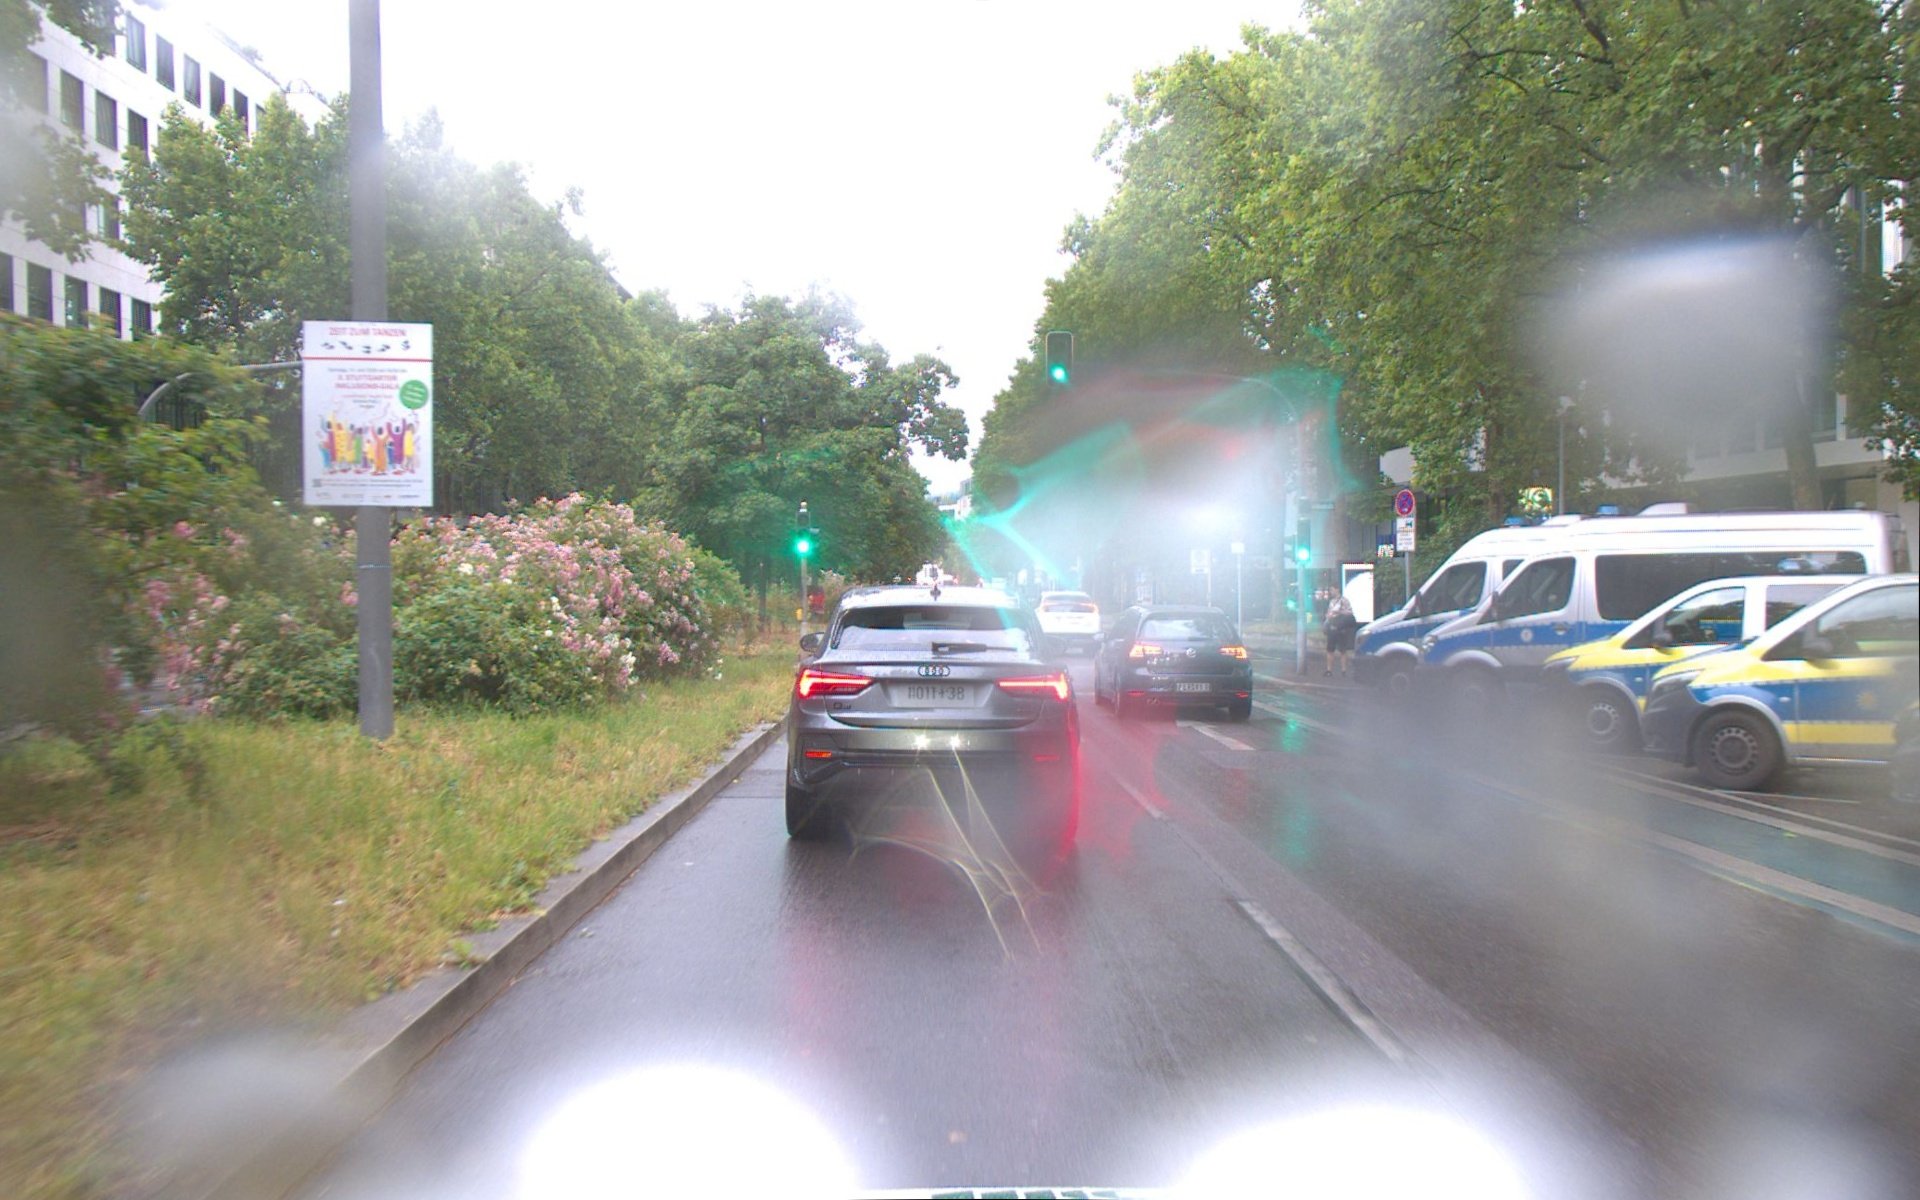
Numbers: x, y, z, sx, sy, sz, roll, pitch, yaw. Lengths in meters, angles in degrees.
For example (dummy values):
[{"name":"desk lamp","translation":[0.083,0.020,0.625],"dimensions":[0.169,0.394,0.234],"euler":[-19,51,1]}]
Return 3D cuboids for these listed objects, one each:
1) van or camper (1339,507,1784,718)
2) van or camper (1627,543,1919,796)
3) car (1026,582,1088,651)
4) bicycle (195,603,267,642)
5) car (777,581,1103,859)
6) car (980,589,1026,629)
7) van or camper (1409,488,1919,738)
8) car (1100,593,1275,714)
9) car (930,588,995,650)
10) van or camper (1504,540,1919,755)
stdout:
[{"name":"van or camper","translation":[8.574,0.141,23.881],"dimensions":[5.701,2.724,2.139],"euler":[0,0,37]},{"name":"van or camper","translation":[8.524,0.578,13.913],"dimensions":[5.101,2.027,1.994],"euler":[1,0,34]},{"name":"car","translation":[2.503,0.403,43.074],"dimensions":[1.404,1.714,2.979],"euler":[-1,1,-1]},{"name":"bicycle","translation":[-18.358,0.561,41.666],"dimensions":[1.587,0.979,0.508],"euler":[0,0,-9]},{"name":"car","translation":[-0.096,0.650,11.550],"dimensions":[1.825,1.559,4.527],"euler":[0,1,0]},{"name":"car","translation":[1.927,0.384,75.126],"dimensions":[1.953,1.780,4.000],"euler":[0,1,-1]},{"name":"van or camper","translation":[8.688,0.136,20.531],"dimensions":[5.693,2.727,1.993],"euler":[0,0,35]},{"name":"car","translation":[2.971,0.648,22.349],"dimensions":[1.729,1.437,3.999],"euler":[-1,1,-1]},{"name":"car","translation":[0.033,0.488,45.401],"dimensions":[1.687,1.605,3.961],"euler":[0,1,-1]},{"name":"van or camper","translation":[8.494,0.473,17.432],"dimensions":[4.914,2.049,1.993],"euler":[0,-1,35]}]
